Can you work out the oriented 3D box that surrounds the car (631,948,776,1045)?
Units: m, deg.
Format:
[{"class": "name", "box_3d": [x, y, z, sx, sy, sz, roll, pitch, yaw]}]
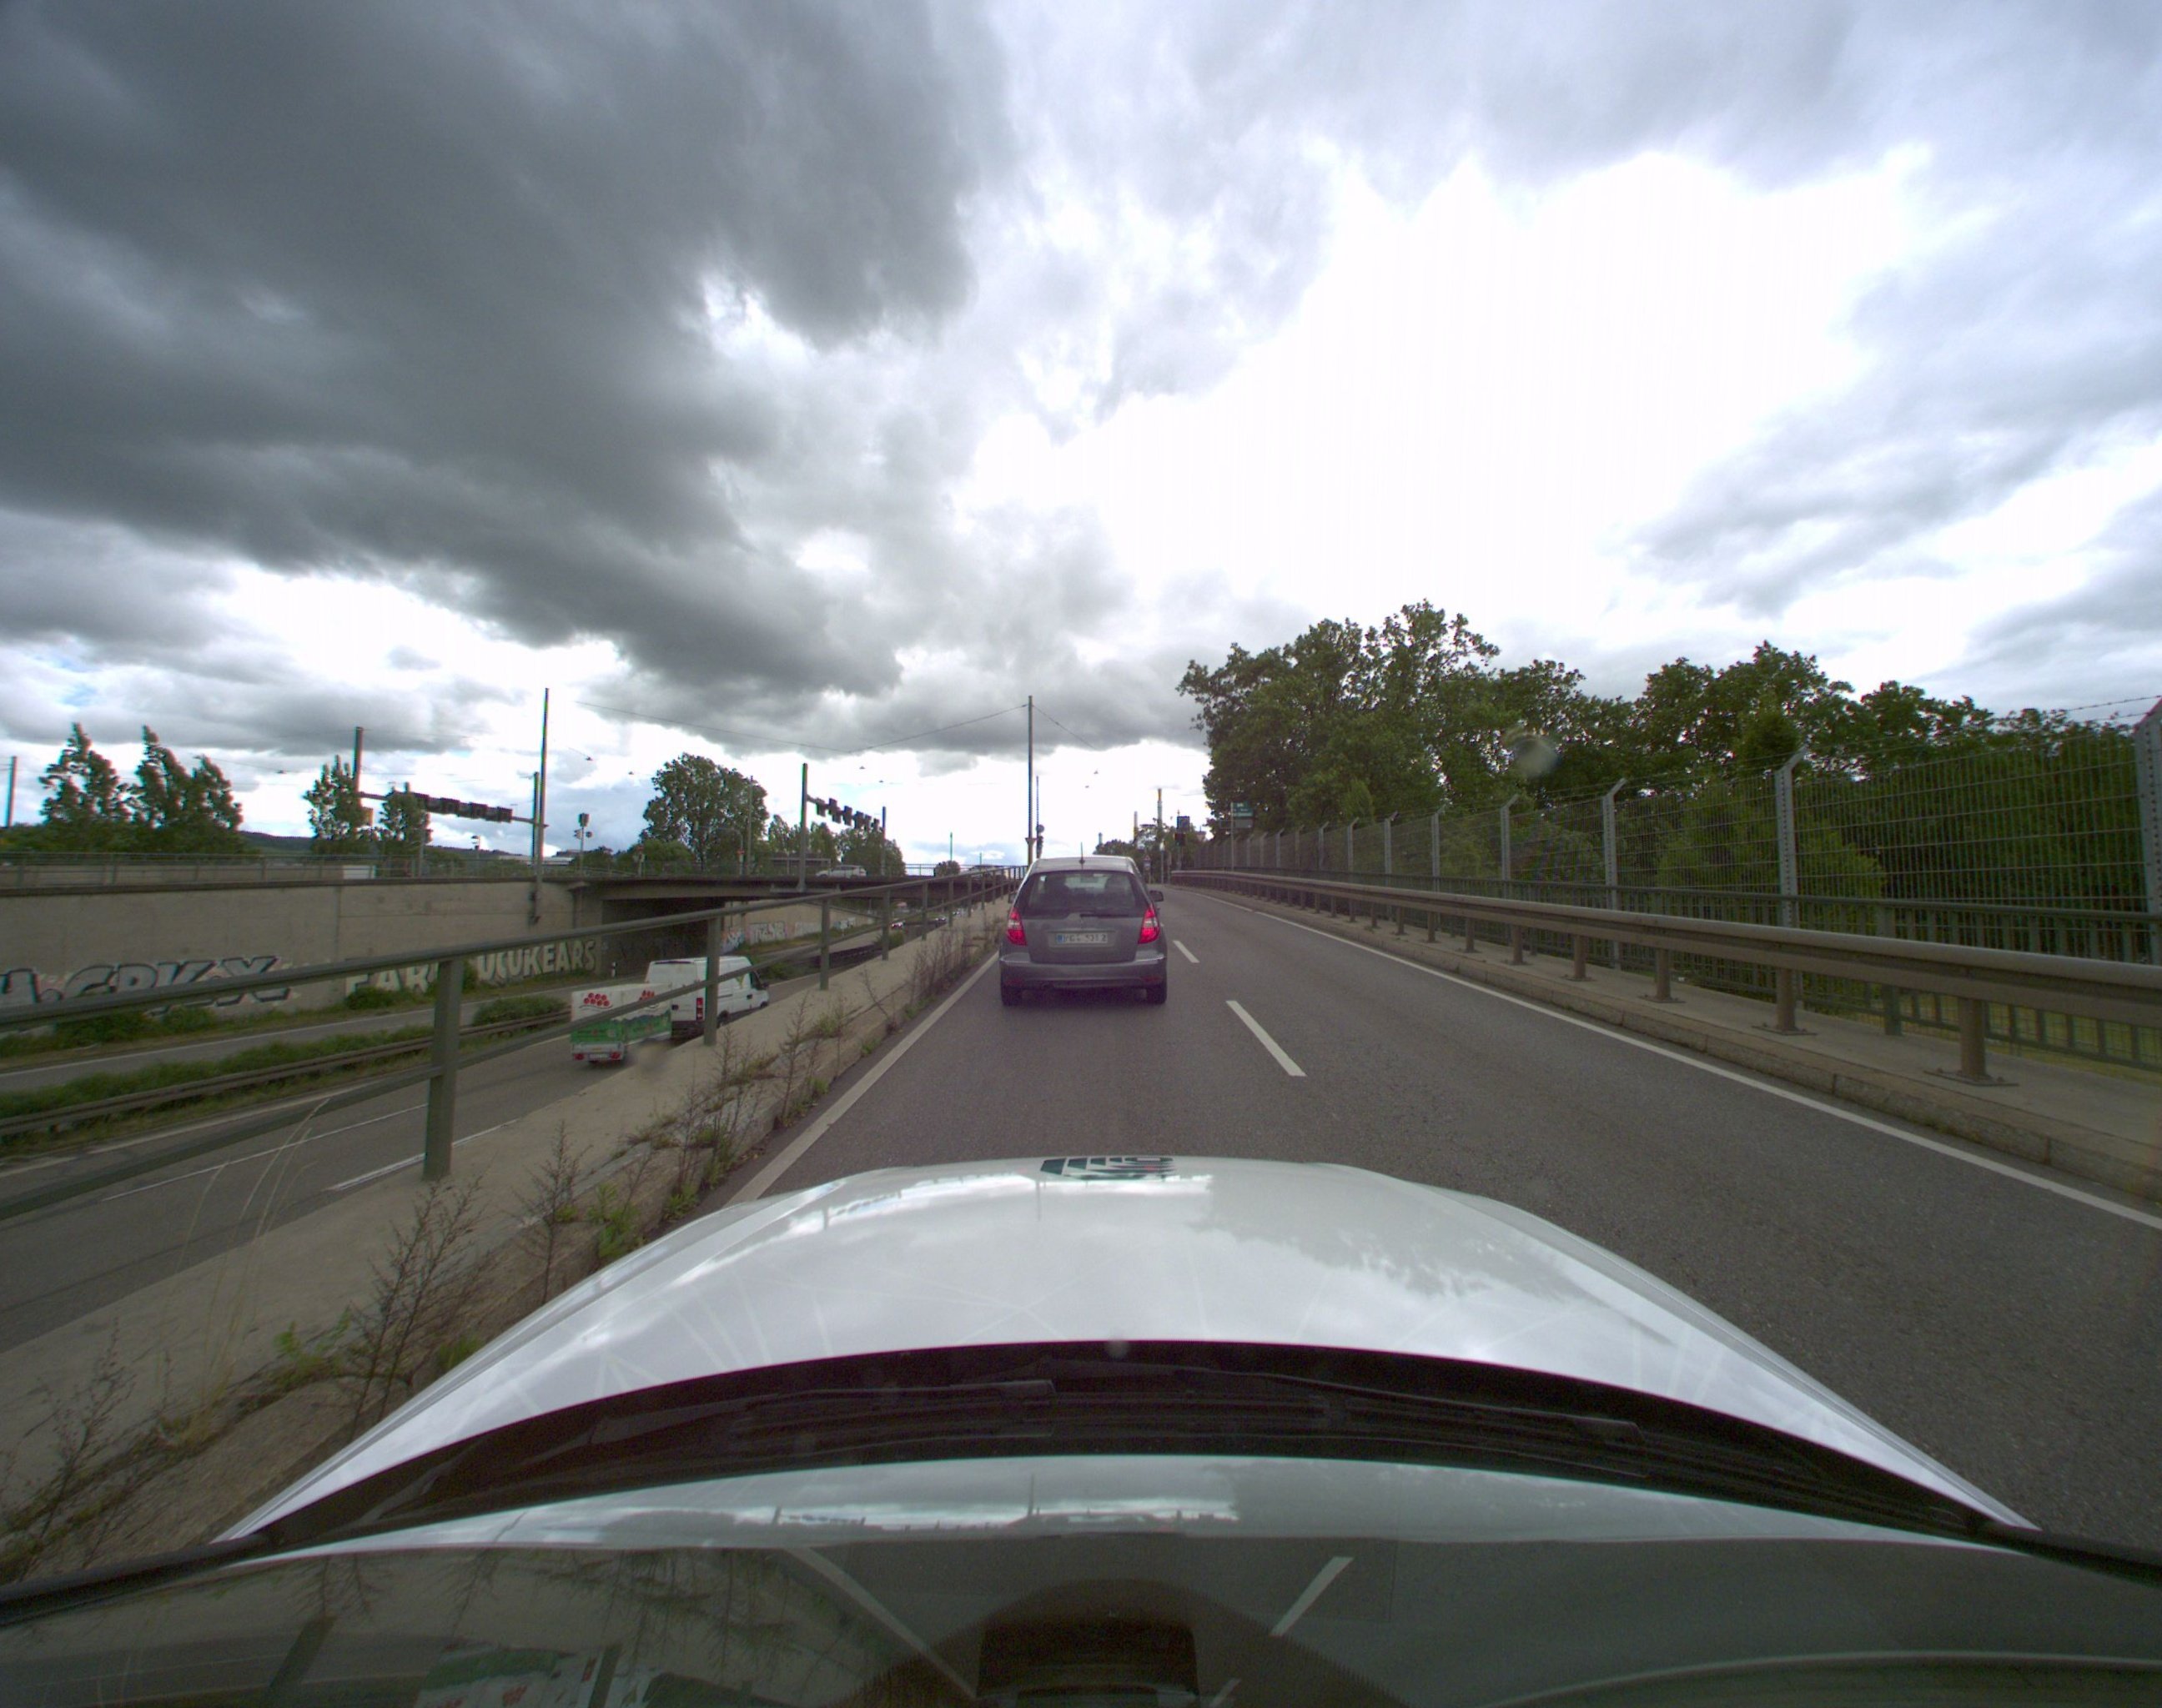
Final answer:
[{"class": "car", "box_3d": [-12.766, 4.734, 28.130, 1.986, 2.685, 5.933, 0, -4, 2]}]

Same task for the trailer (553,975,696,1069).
[{"class": "trailer", "box_3d": [-12.941, 4.704, 23.419, 1.722, 2.130, 3.936, 0, -4, 2]}]

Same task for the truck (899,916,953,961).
[{"class": "truck", "box_3d": [-12.462, 6.788, 66.329, 2.736, 3.293, 7.442, 0, -3, 2]}]

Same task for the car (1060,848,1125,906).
[{"class": "car", "box_3d": [0.339, 0.705, 26.633, 1.925, 1.717, 4.404, 0, -1, 0]}]

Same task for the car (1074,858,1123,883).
[{"class": "car", "box_3d": [1.191, 1.130, 56.953, 1.940, 1.717, 3.967, 0, -1, -25]}]

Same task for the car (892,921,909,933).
[{"class": "car", "box_3d": [-32.599, 13.123, 147.081, 1.988, 2.067, 5.172, 0, -4, -2]}]

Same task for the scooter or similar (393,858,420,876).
[{"class": "scooter or similar", "box_3d": [-42.074, 0.824, 50.794, 0.542, 1.094, 1.414, -1, -3, -4]}]

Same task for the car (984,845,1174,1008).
[{"class": "car", "box_3d": [0.045, 0.718, 10.005, 1.851, 1.588, 4.002, 0, 0, 2]}]

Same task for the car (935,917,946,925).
[{"class": "car", "box_3d": [-33.258, 15.967, 193.126, 1.910, 1.739, 4.549, -1, -3, -1]}]

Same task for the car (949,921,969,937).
[{"class": "car", "box_3d": [-17.224, 10.638, 115.444, 1.891, 2.003, 4.959, -1, -3, 2]}]

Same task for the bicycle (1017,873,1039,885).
[{"class": "bicycle", "box_3d": [-5.137, 2.424, 79.469, 2.034, 1.124, 0.925, 0, -1, -12]}]

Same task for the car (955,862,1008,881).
[{"class": "car", "box_3d": [-8.482, 1.504, 69.585, 4.290, 1.576, 1.850, -1, -1, 33]}]

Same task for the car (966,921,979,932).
[{"class": "car", "box_3d": [-18.425, 12.276, 138.471, 1.893, 1.622, 4.174, 0, -3, -2]}]

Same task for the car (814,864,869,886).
[{"class": "car", "box_3d": [-20.984, 1.860, 71.493, 4.188, 1.870, 1.998, 0, -1, -2]}]
